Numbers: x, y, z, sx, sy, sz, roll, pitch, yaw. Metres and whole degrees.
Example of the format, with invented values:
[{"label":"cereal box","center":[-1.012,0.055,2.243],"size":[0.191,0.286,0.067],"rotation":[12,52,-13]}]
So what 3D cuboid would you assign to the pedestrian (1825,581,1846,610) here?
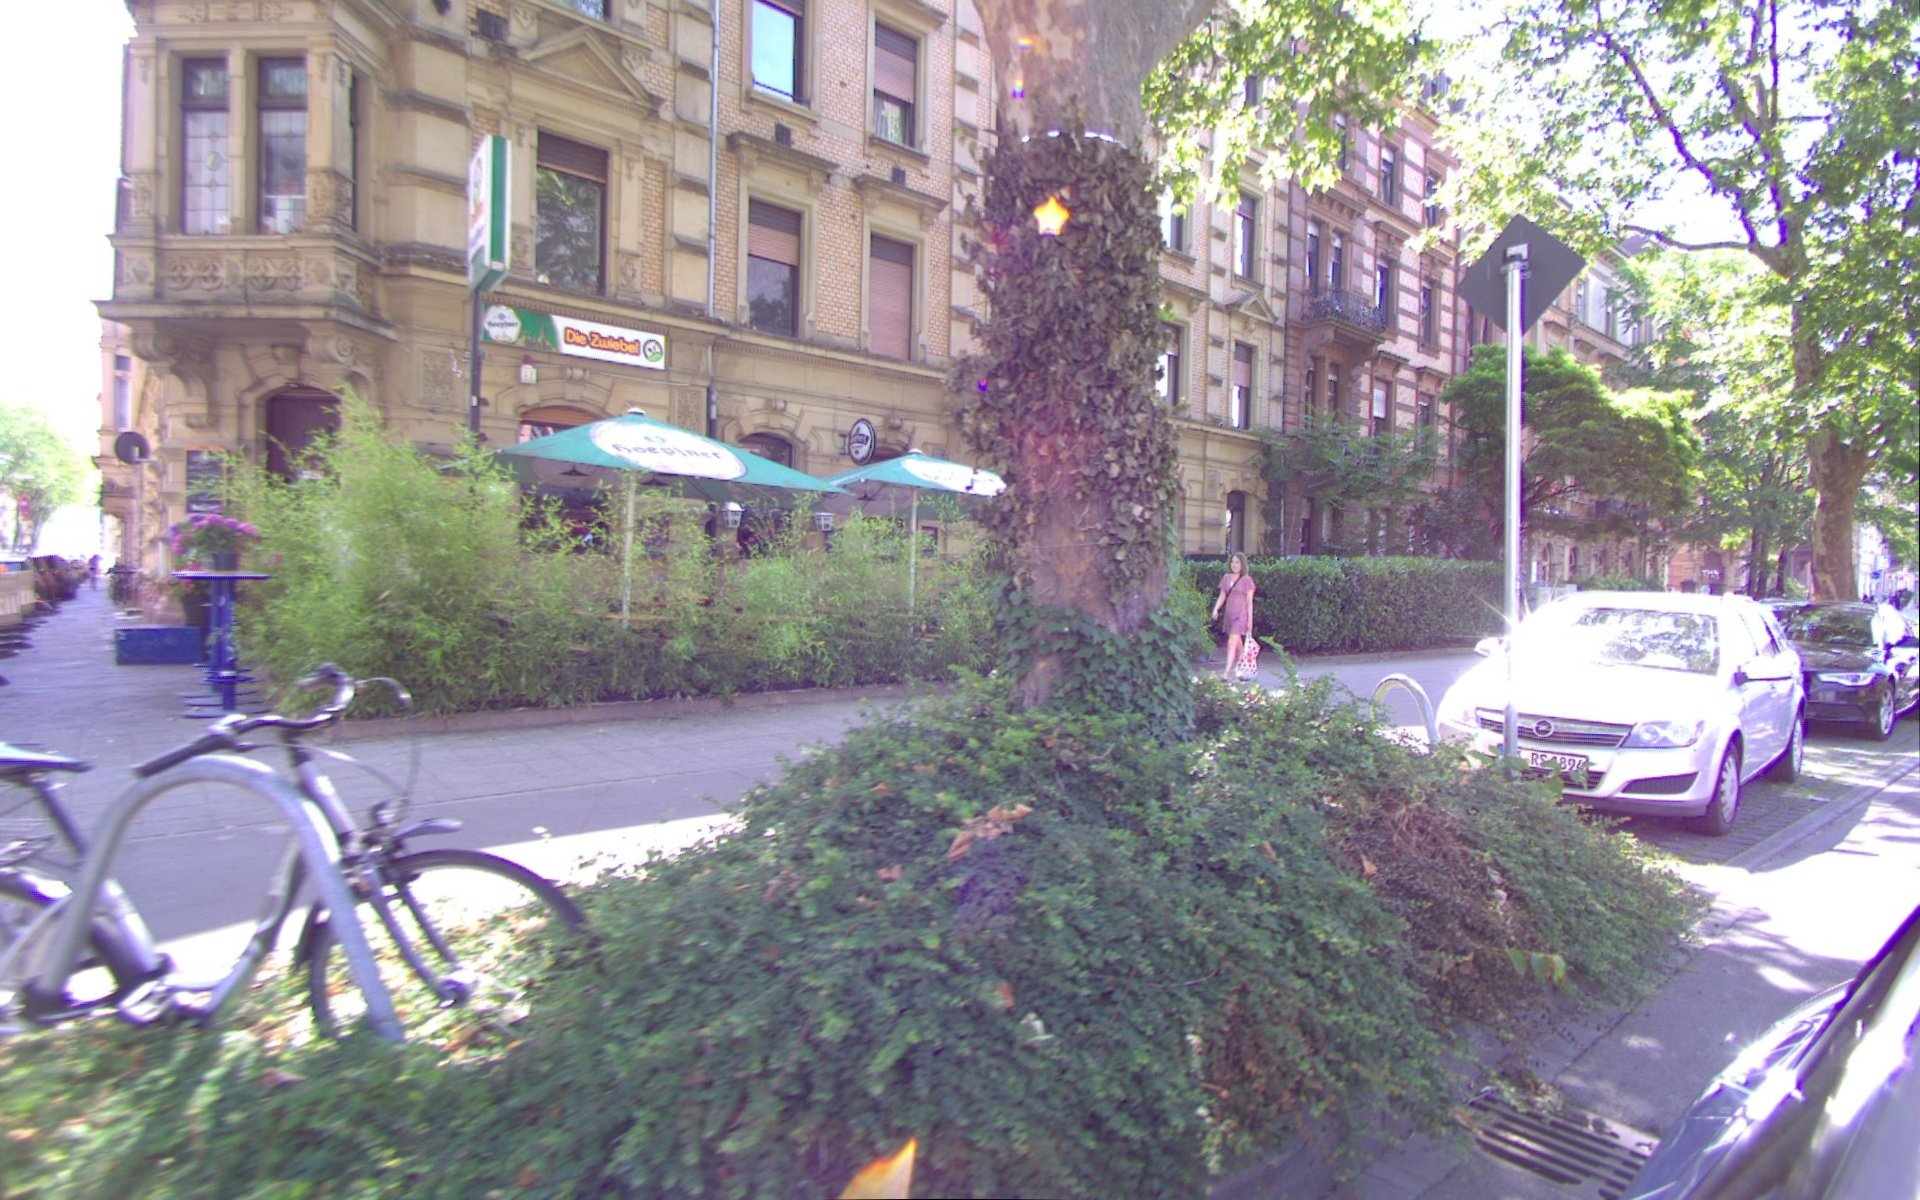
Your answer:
[{"label":"pedestrian","center":[52.209,-0.272,60.378],"size":[0.951,1.740,0.796],"rotation":[0,1,-41]}]

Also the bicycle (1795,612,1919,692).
[{"label":"bicycle","center":[13.472,0.758,14.991],"size":[1.615,1.102,0.469],"rotation":[2,1,17]}]

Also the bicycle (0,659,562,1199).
[{"label":"bicycle","center":[-1.814,0.717,2.365],"size":[1.583,1.119,0.423],"rotation":[1,1,-10]}]

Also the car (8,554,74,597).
[{"label":"car","center":[-39.649,-1.063,43.726],"size":[1.965,1.760,3.995],"rotation":[0,2,-41]}]

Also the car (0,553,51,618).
[{"label":"car","center":[-24.796,-0.418,26.047],"size":[1.965,1.571,3.995],"rotation":[0,2,-41]}]

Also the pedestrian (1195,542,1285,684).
[{"label":"pedestrian","center":[3.730,0.147,13.493],"size":[0.837,1.807,0.737],"rotation":[0,3,-41]}]

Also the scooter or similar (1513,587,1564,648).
[{"label":"scooter or similar","center":[12.439,0.362,21.766],"size":[1.125,1.263,0.583],"rotation":[0,2,-40]}]

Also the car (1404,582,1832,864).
[{"label":"car","center":[5.279,0.662,7.834],"size":[4.418,1.526,1.835],"rotation":[0,2,-44]}]

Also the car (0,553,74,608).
[{"label":"car","center":[-31.563,-0.681,34.506],"size":[1.965,1.760,3.995],"rotation":[0,2,-41]}]

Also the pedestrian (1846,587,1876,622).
[{"label":"pedestrian","center":[45.775,0.210,51.416],"size":[0.948,1.740,0.799],"rotation":[0,1,-28]}]

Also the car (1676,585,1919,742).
[{"label":"car","center":[10.489,0.617,12.292],"size":[4.561,1.526,1.837],"rotation":[0,2,-40]}]

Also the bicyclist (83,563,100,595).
[{"label":"bicyclist","center":[-40.149,-0.963,46.780],"size":[0.459,1.471,0.524],"rotation":[2,1,44]}]

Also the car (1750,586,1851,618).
[{"label":"car","center":[44.967,0.100,54.230],"size":[4.077,1.535,1.860],"rotation":[3,2,41]}]

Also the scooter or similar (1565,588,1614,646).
[{"label":"scooter or similar","center":[14.559,0.372,23.401],"size":[1.124,1.298,0.583],"rotation":[0,1,-39]}]

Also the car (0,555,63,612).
[{"label":"car","center":[-28.719,-0.543,30.873],"size":[1.965,1.660,3.995],"rotation":[0,2,-41]}]
